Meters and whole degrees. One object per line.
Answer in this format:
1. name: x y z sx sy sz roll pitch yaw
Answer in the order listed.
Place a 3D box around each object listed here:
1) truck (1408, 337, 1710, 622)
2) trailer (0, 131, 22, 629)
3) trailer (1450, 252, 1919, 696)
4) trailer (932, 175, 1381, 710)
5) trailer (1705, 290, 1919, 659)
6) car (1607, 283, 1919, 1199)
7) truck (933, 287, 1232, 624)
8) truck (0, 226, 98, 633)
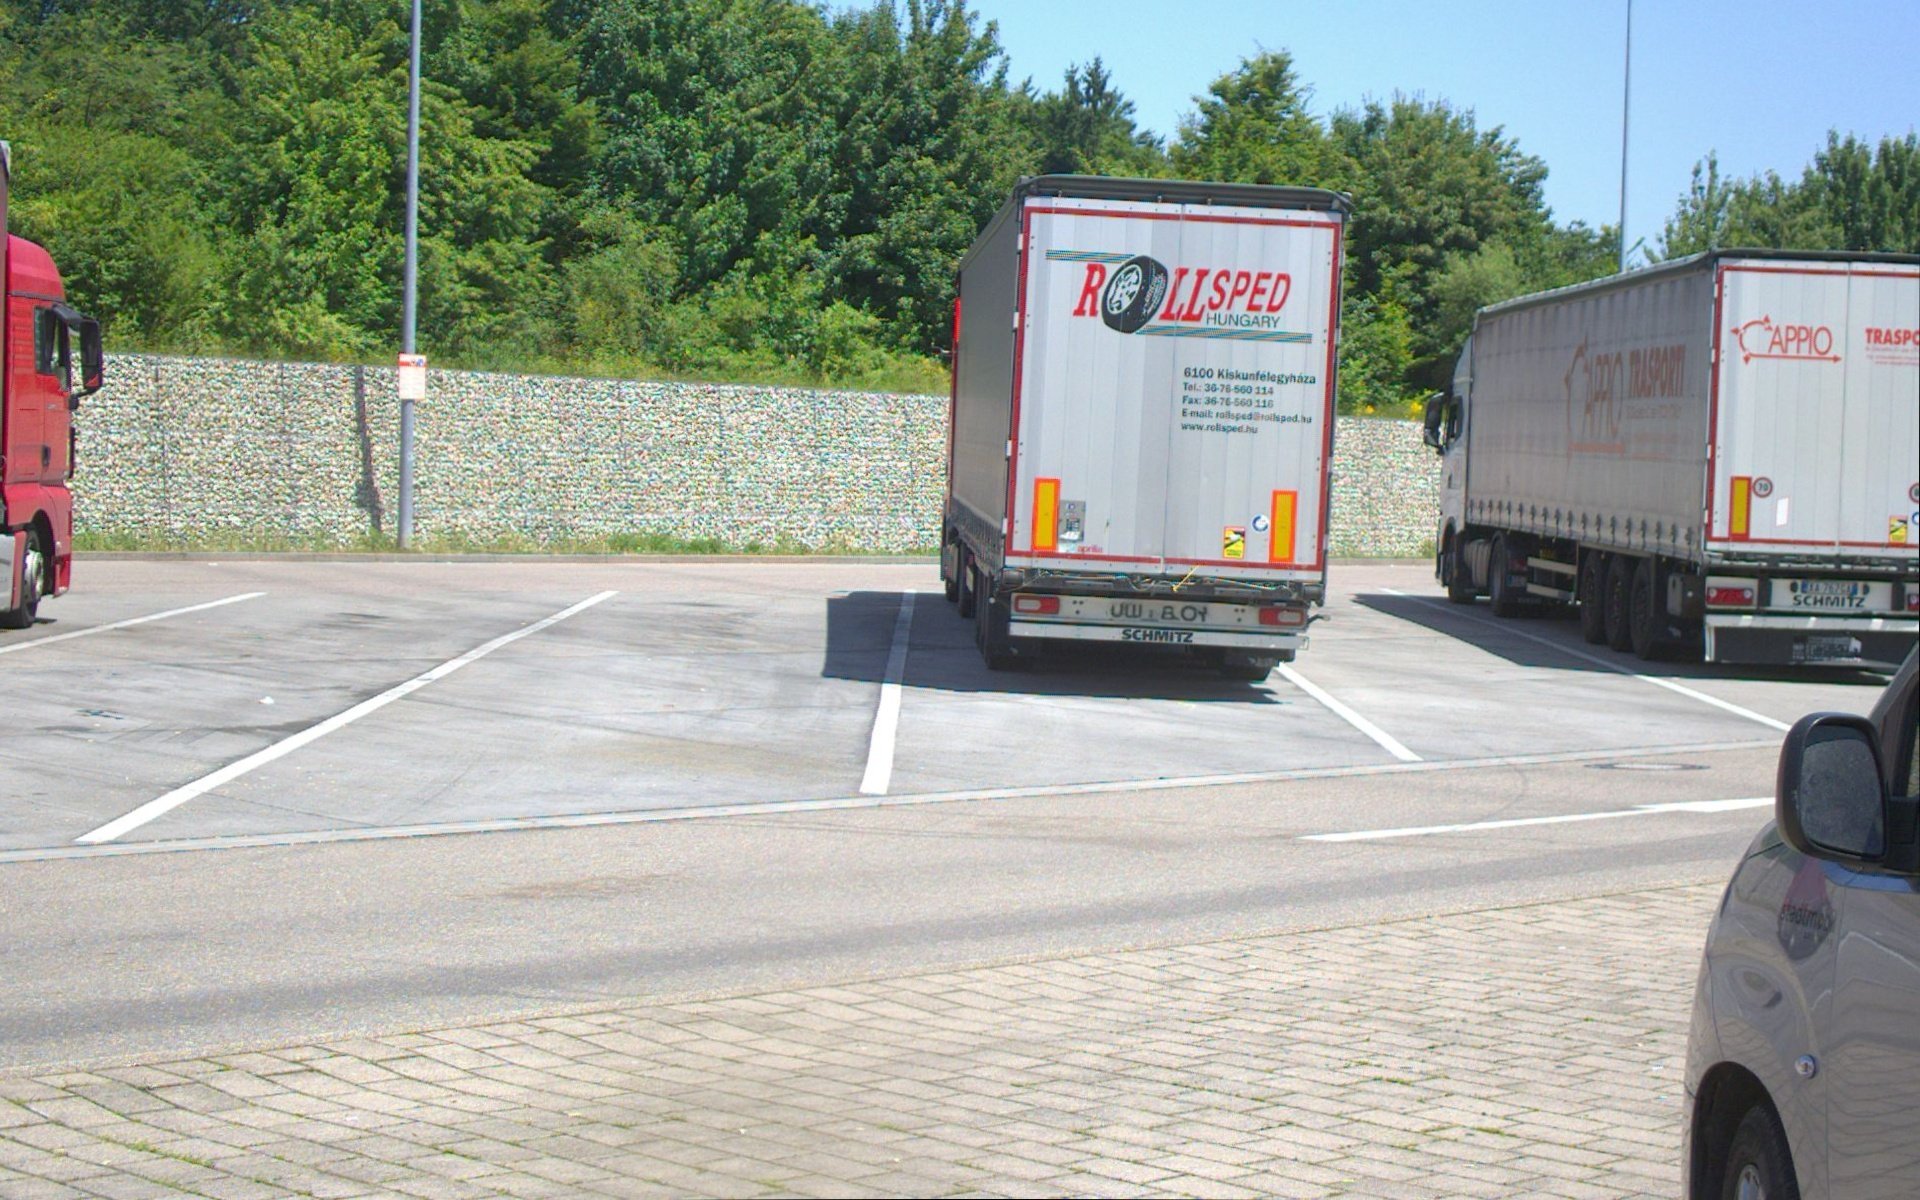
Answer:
1. truck: 8.020 -1.694 46.805 2.862 3.509 5.900 2 3 -1
2. trailer: -9.198 -1.486 21.544 2.791 4.071 14.133 2 3 -1
3. trailer: 8.112 -1.518 38.705 2.811 3.976 14.396 2 3 -1
4. trailer: 1.445 -1.589 33.593 3.133 3.976 14.397 2 3 -1
5. trailer: 11.753 -1.451 39.756 2.811 3.976 14.396 2 3 -1
6. car: 2.144 0.587 3.824 1.869 1.857 4.177 2 2 -2
7. truck: 1.309 -1.731 40.485 3.103 3.554 5.900 2 3 -1
8. truck: -9.241 -1.441 28.118 2.851 3.316 5.900 2 3 -1
